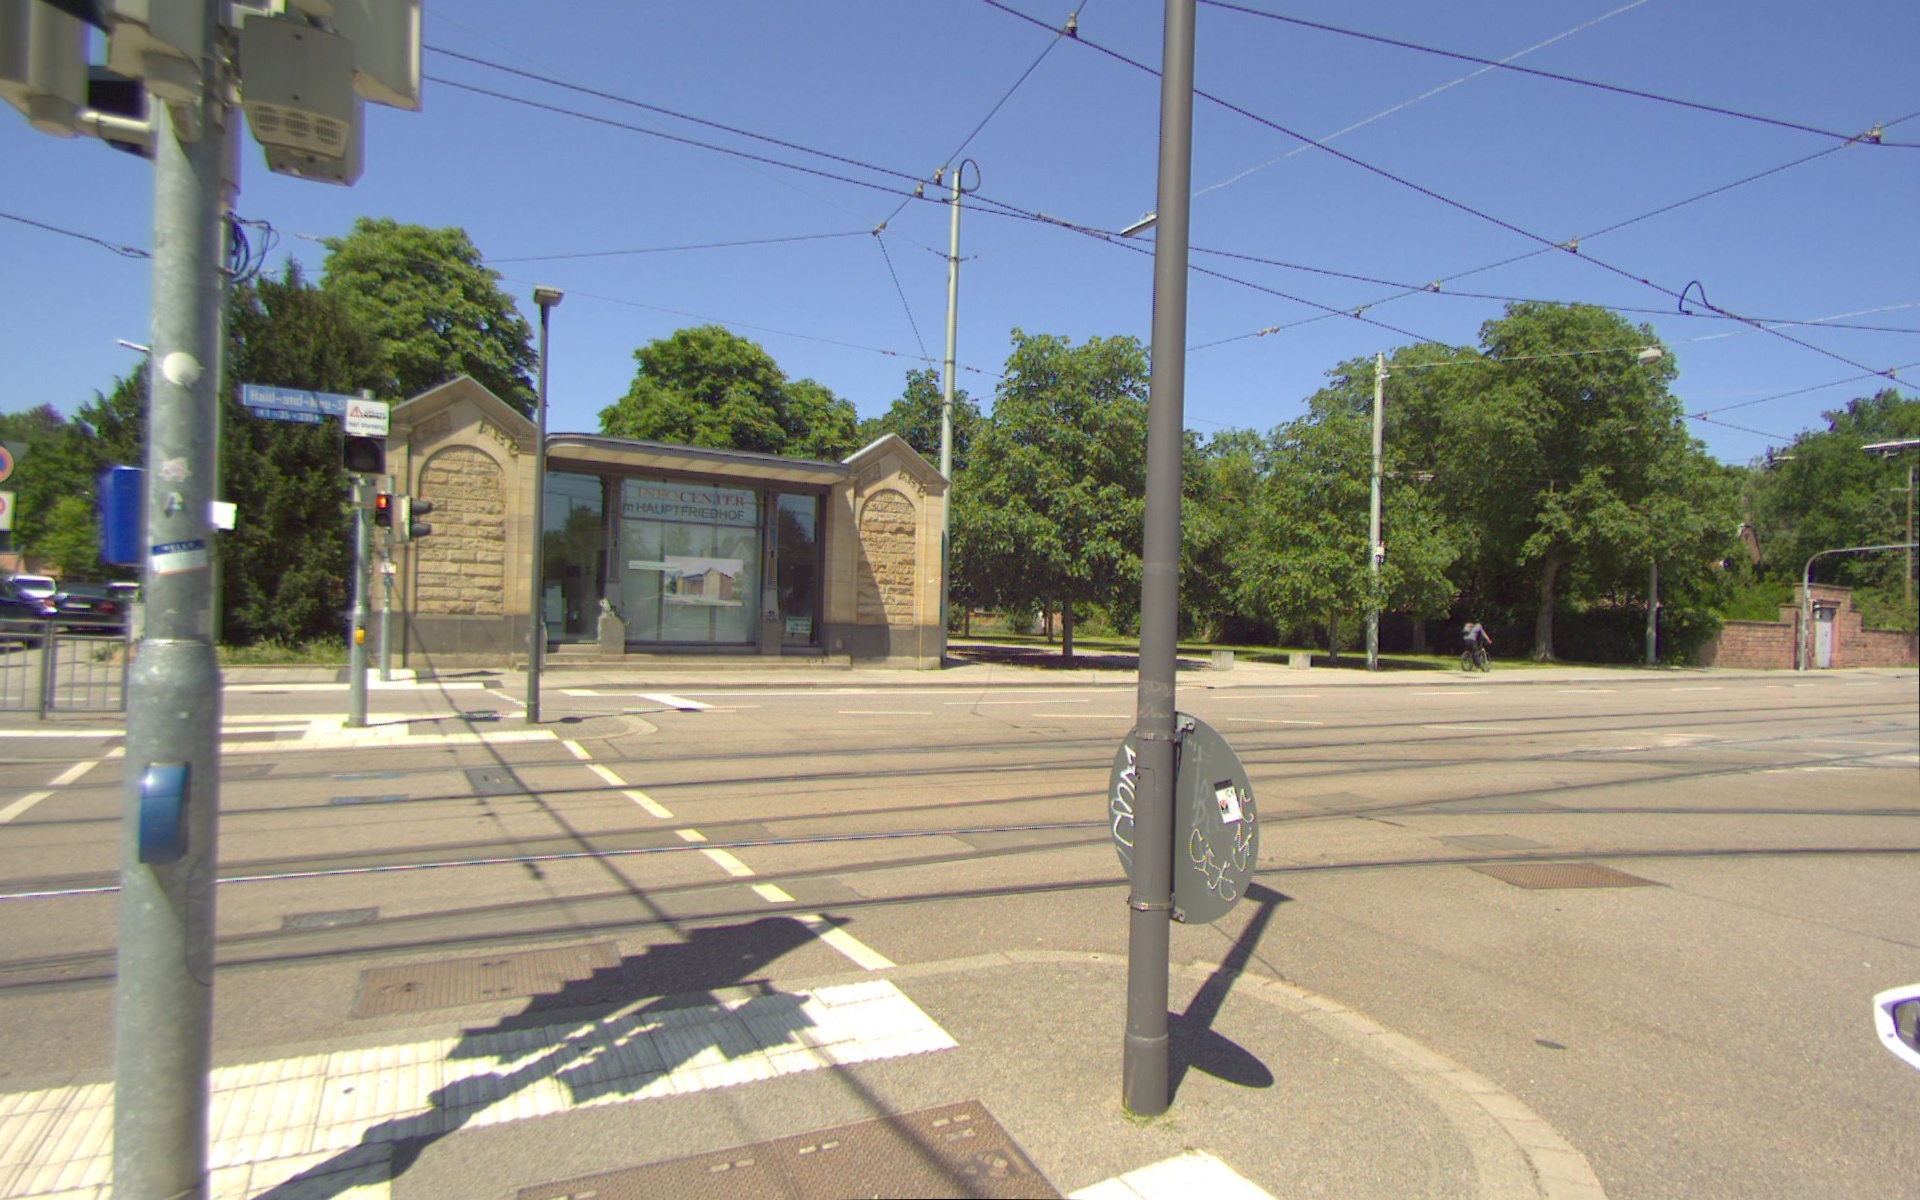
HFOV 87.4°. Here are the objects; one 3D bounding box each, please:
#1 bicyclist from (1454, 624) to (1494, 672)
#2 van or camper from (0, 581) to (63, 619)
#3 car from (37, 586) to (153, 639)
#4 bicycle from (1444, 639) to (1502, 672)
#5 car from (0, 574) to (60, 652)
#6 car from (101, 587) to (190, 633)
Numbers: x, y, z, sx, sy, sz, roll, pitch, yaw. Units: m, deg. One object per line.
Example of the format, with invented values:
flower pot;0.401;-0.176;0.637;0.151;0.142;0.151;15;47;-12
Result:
bicyclist;17.190;1.588;33.576;0.835;1.551;0.846;2;-1;-30
van or camper;-41.003;0.004;44.420;1.676;1.587;3.785;2;-1;-37
car;-24.487;0.379;28.567;1.624;1.388;3.786;2;-2;-28
bicycle;17.158;1.861;33.560;2.079;1.055;0.711;2;-1;-30
car;-19.190;0.210;19.250;1.799;1.471;3.933;2;-1;-25
car;-27.617;0.364;34.159;1.625;1.465;3.785;2;-2;-29
